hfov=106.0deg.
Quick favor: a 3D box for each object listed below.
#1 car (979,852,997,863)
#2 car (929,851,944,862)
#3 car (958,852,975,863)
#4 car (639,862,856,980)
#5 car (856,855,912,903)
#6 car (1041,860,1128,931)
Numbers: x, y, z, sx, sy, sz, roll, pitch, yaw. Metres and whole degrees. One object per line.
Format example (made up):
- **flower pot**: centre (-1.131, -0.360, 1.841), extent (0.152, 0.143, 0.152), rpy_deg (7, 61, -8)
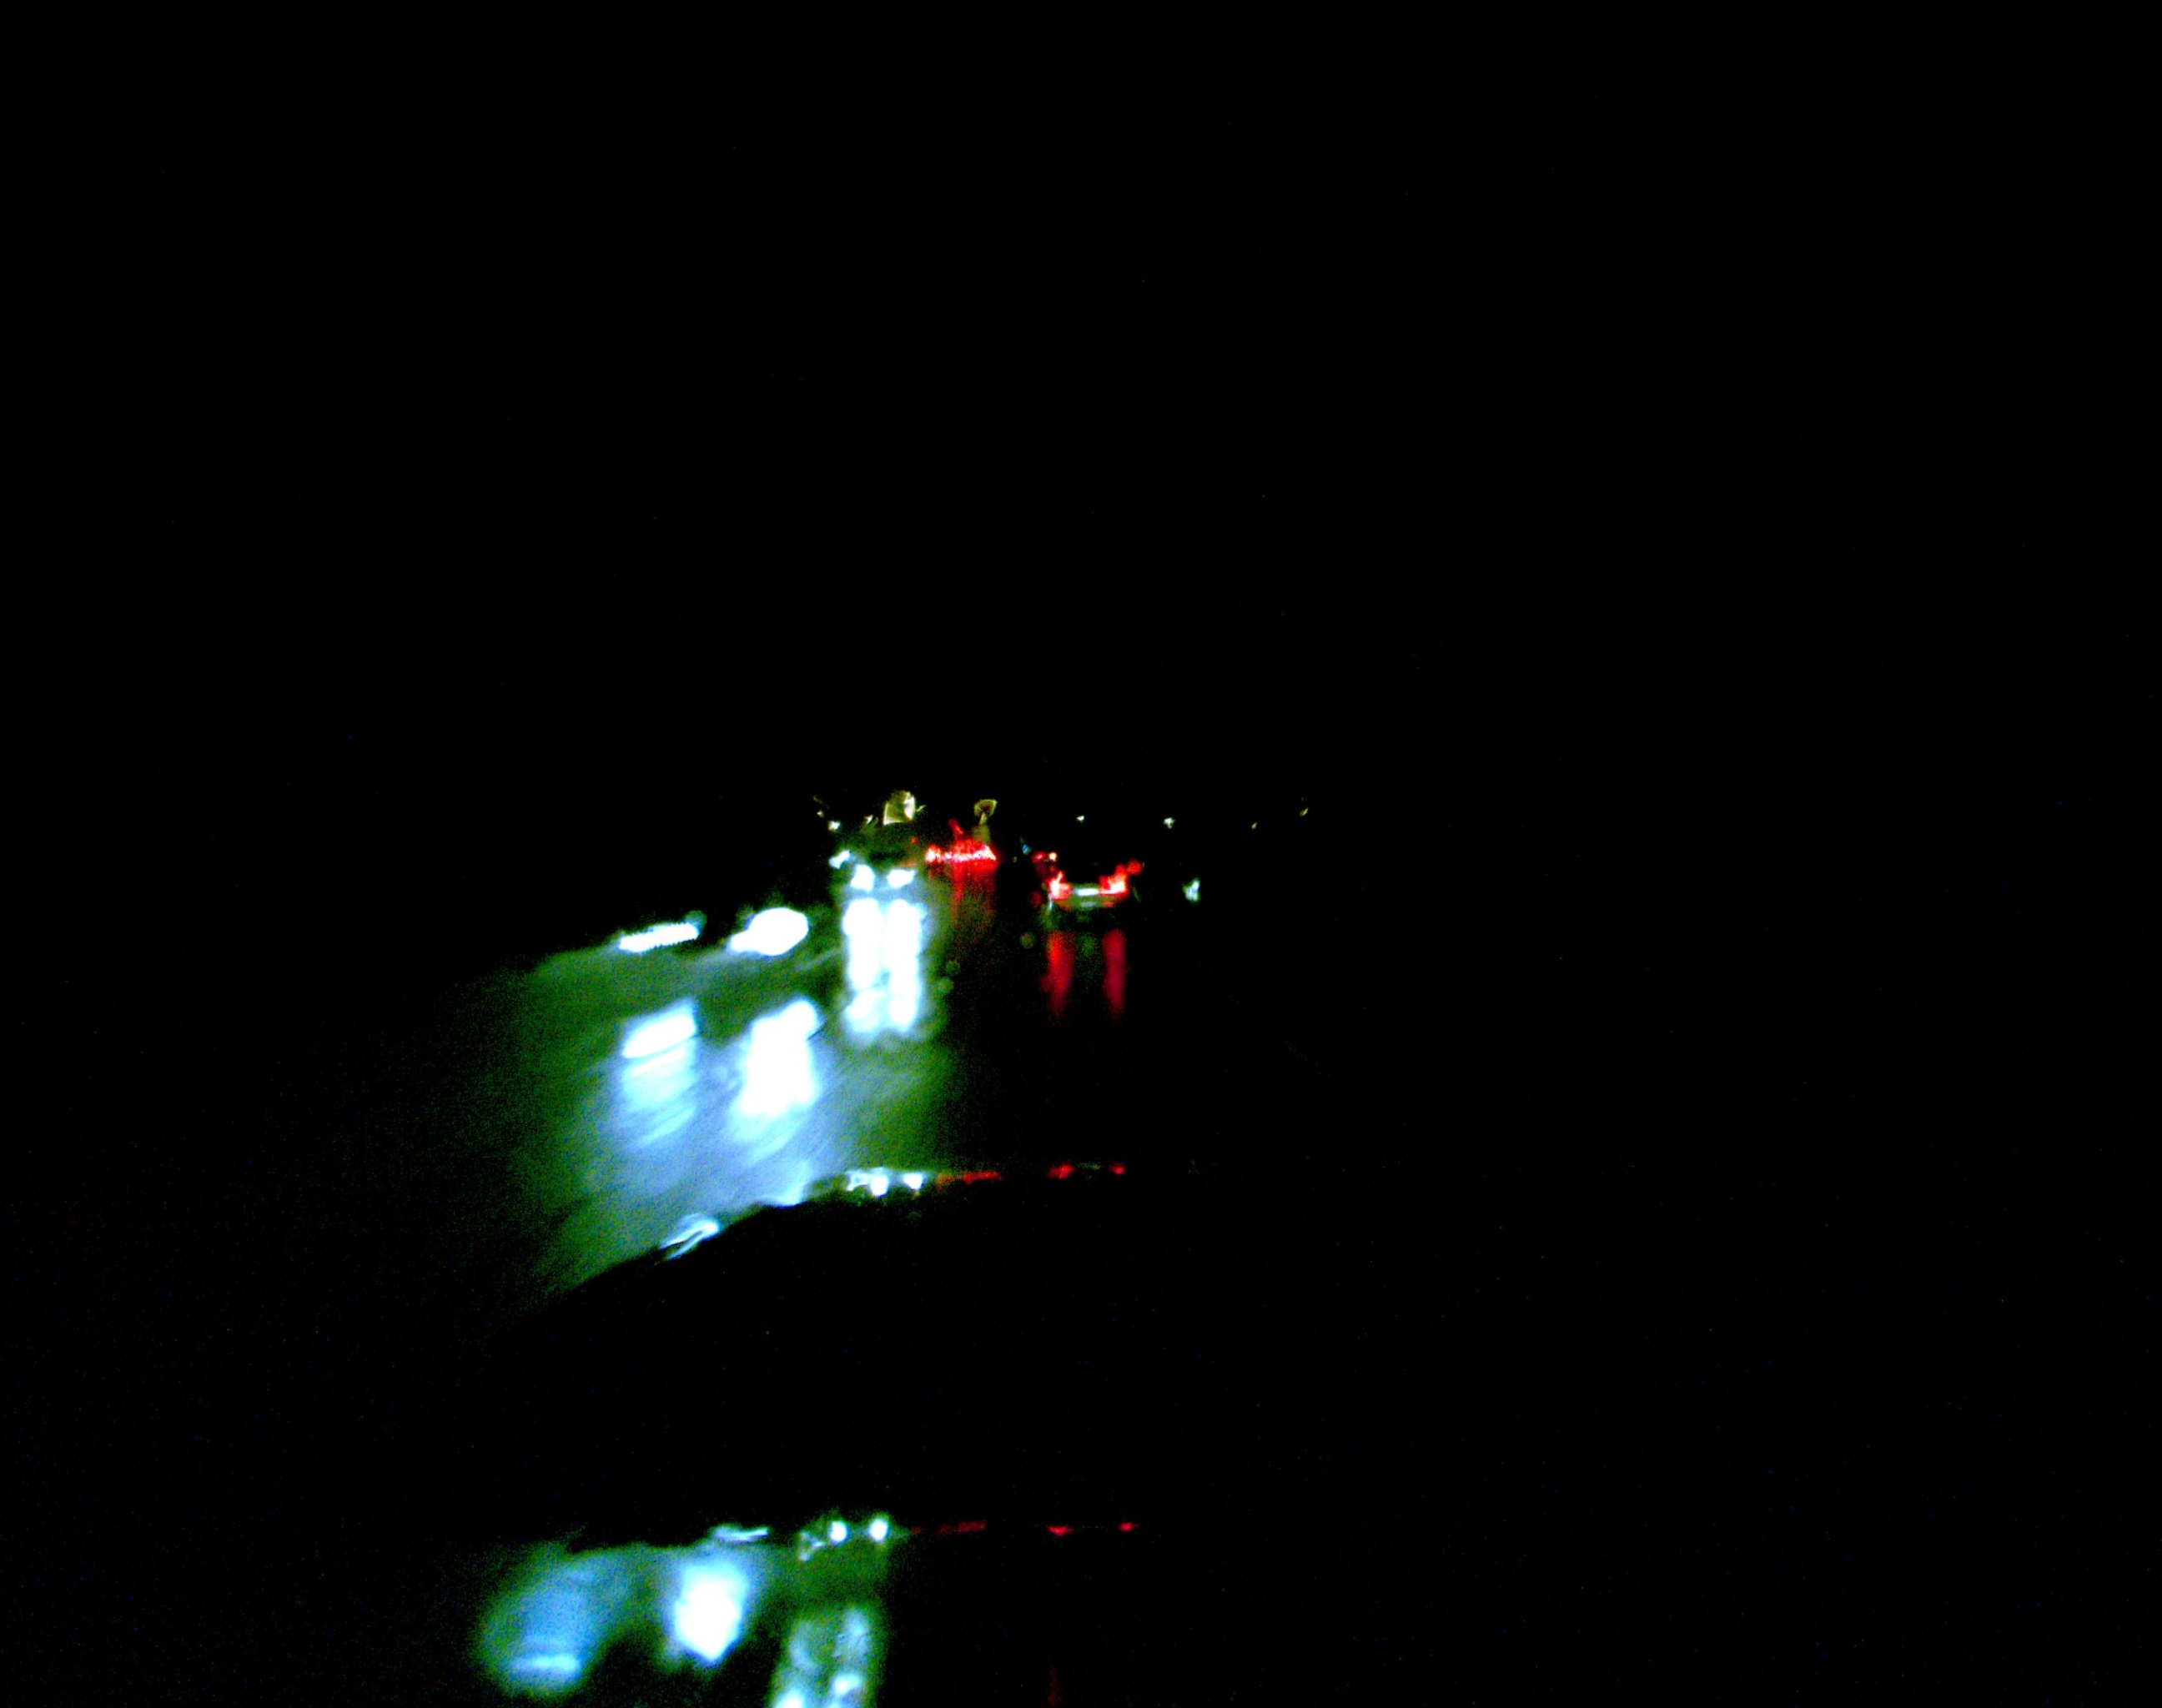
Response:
- **car**: centre (-14.700, 0.504, 127.922), extent (1.998, 1.627, 4.958), rpy_deg (-3, 1, -16)
- **car**: centre (-24.514, 0.405, 137.729), extent (1.998, 1.627, 4.958), rpy_deg (-3, 1, -16)
- **car**: centre (-18.003, 0.534, 127.751), extent (1.998, 1.627, 4.958), rpy_deg (-3, 1, -16)
- **car**: centre (-4.609, 0.847, 11.920), extent (1.768, 1.389, 4.029), rpy_deg (-1, -1, -5)
- **car**: centre (-7.864, 0.972, 32.886), extent (1.860, 1.747, 4.945), rpy_deg (-1, -1, -10)
- **car**: centre (0.167, 0.989, 21.178), extent (1.986, 1.628, 4.986), rpy_deg (-1, -1, 2)
